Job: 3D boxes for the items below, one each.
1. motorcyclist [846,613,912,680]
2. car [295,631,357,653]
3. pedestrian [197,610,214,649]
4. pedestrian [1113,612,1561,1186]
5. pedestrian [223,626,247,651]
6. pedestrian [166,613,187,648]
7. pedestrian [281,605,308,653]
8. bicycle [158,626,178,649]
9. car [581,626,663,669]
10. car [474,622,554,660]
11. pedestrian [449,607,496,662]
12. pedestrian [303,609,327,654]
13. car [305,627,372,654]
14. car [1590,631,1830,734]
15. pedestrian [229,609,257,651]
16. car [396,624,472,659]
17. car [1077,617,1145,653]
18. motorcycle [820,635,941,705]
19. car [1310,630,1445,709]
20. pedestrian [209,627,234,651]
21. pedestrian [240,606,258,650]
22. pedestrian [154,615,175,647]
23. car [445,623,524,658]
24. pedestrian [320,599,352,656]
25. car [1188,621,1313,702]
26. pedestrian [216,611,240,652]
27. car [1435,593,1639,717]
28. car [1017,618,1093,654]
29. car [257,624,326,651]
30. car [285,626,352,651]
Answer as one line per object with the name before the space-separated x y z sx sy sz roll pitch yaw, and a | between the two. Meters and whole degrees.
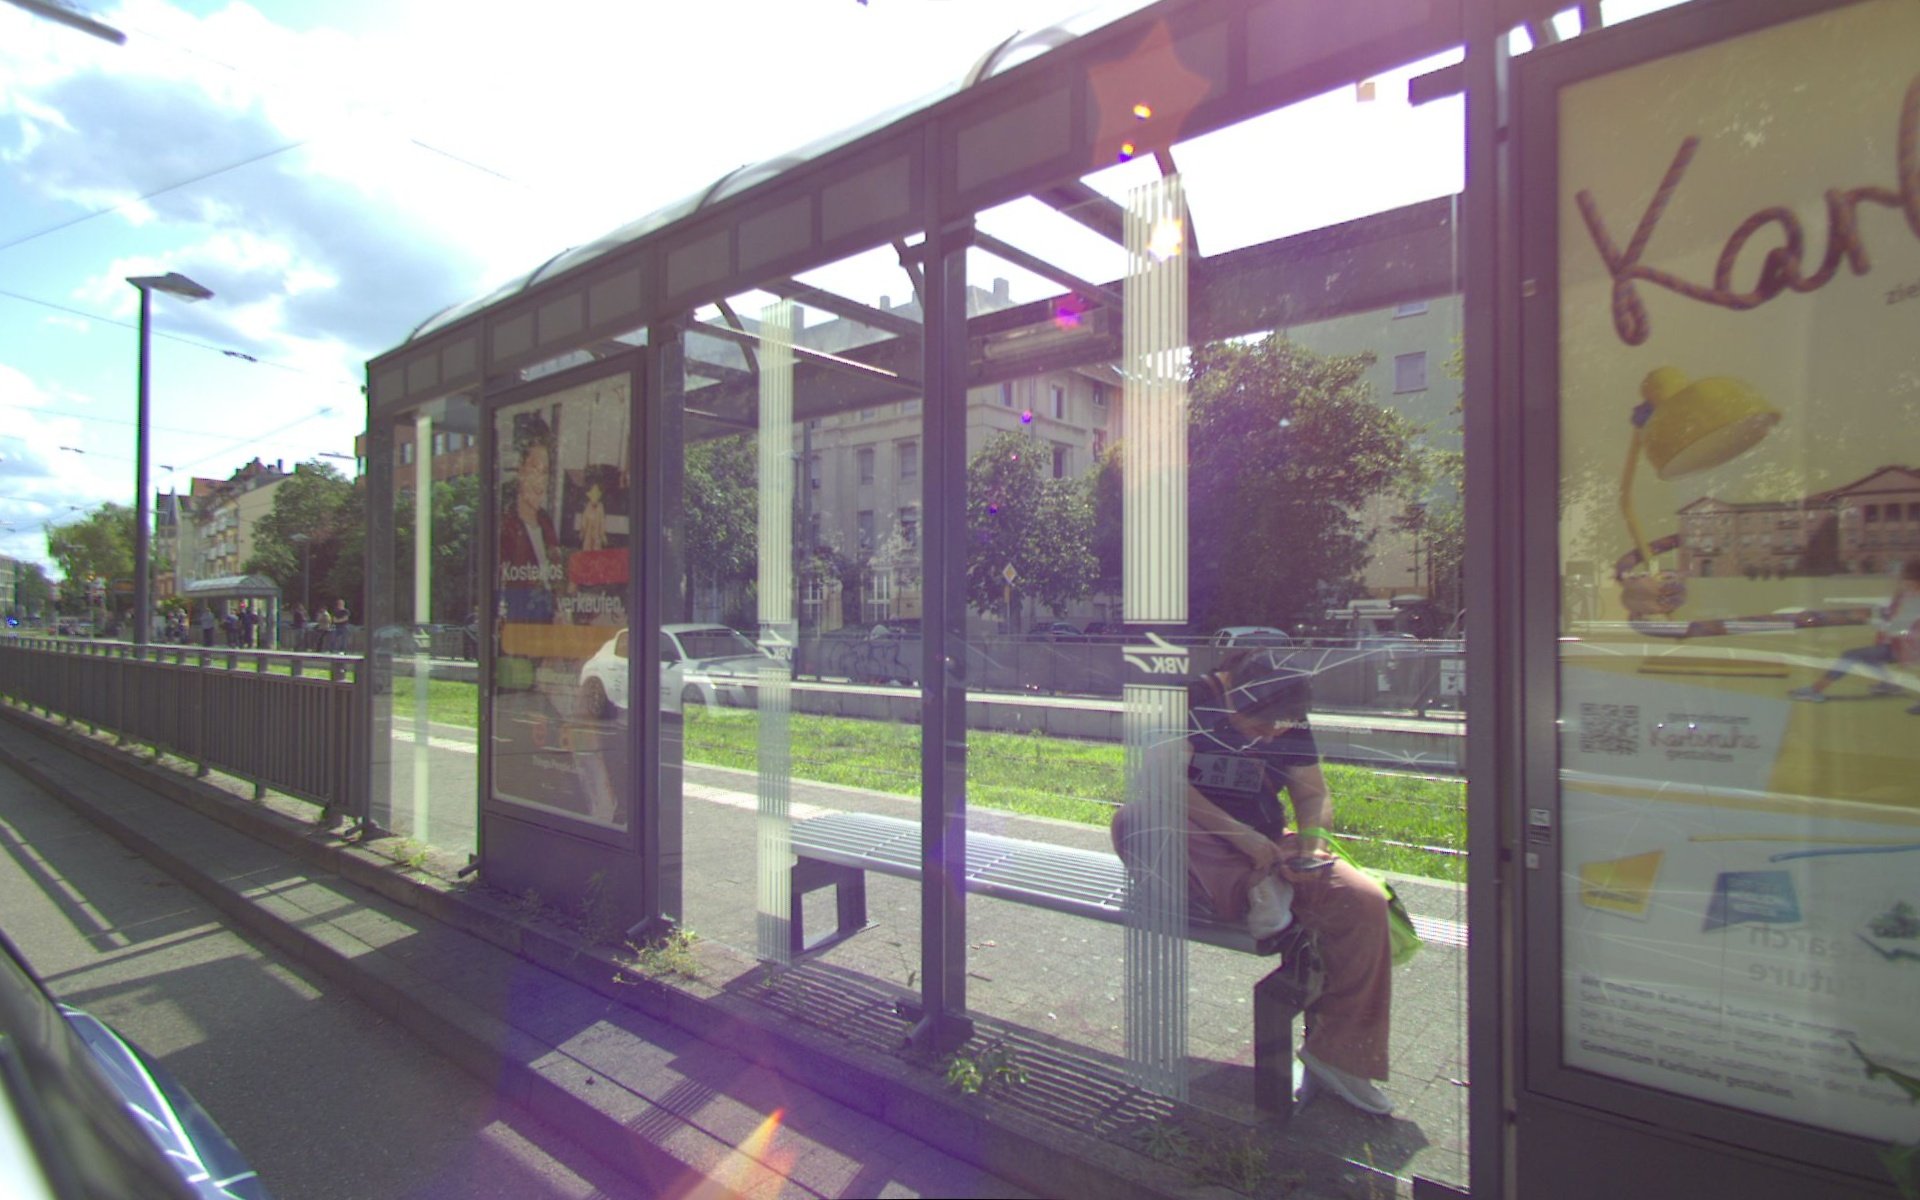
motorcyclist | -1.672 0.948 20.954 0.986 1.349 0.928 -1 -3 41
car | -38.624 2.563 61.765 1.583 1.314 3.247 0 -2 5
pedestrian | -33.978 1.305 45.584 0.623 1.739 0.481 -1 -1 40
pedestrian | 0.815 0.578 2.359 0.652 1.080 0.726 0 -2 -15
pedestrian | -32.013 1.708 44.679 0.562 1.038 0.647 9 3 38
pedestrian | -38.920 1.503 50.260 0.798 1.737 0.632 -1 -2 38
pedestrian | -24.764 1.081 37.684 0.599 1.767 0.626 1 -1 -9
bicycle | -39.106 1.847 49.970 0.653 1.122 1.880 3 -3 -41
car | -13.341 1.858 40.188 1.899 1.576 4.153 1 -2 0
car | -20.505 1.869 46.690 1.809 1.652 4.135 1 -2 1
pedestrian | -14.208 0.996 29.514 0.797 1.590 0.979 -1 -1 38
pedestrian | -24.446 1.202 38.358 0.624 1.687 0.600 0 -1 40
car | -36.517 2.364 59.500 1.568 1.431 3.302 -1 0 10
car | 13.048 1.358 17.938 1.699 1.591 3.941 0 -2 8
pedestrian | -29.942 1.246 42.265 1.035 1.756 0.626 -1 -2 38
car | -27.081 2.106 52.227 1.651 1.540 3.996 -2 0 4
car | 8.148 1.918 54.382 1.823 1.845 3.946 0 -3 41
motorcycle | -1.663 1.410 20.876 2.515 1.349 1.004 -1 -3 41
car | 8.685 1.384 21.413 1.590 1.497 3.991 0 -2 7
pedestrian | -32.634 1.729 44.718 0.623 1.039 0.713 -1 -3 38
pedestrian | -30.420 1.202 43.288 0.623 1.841 0.438 -1 -2 38
pedestrian | -42.259 1.640 53.734 0.798 1.712 0.659 -1 -2 38
car | -22.722 1.908 48.547 1.590 1.580 3.992 -1 -1 7
pedestrian | -21.355 0.941 34.645 0.639 1.906 0.742 1 0 43
car | 6.465 1.331 22.961 1.803 1.652 3.996 -1 -2 3
pedestrian | -29.956 1.300 41.414 0.556 1.645 0.593 -1 -2 26
car | 10.690 0.988 19.126 2.027 2.086 3.940 0 -2 9
car | 4.781 1.806 50.448 1.823 1.746 3.946 0 -3 41
car | -43.135 2.392 65.406 1.850 1.671 3.841 0 -2 1
car | -40.913 2.449 64.640 1.629 1.508 3.996 0 -2 3
